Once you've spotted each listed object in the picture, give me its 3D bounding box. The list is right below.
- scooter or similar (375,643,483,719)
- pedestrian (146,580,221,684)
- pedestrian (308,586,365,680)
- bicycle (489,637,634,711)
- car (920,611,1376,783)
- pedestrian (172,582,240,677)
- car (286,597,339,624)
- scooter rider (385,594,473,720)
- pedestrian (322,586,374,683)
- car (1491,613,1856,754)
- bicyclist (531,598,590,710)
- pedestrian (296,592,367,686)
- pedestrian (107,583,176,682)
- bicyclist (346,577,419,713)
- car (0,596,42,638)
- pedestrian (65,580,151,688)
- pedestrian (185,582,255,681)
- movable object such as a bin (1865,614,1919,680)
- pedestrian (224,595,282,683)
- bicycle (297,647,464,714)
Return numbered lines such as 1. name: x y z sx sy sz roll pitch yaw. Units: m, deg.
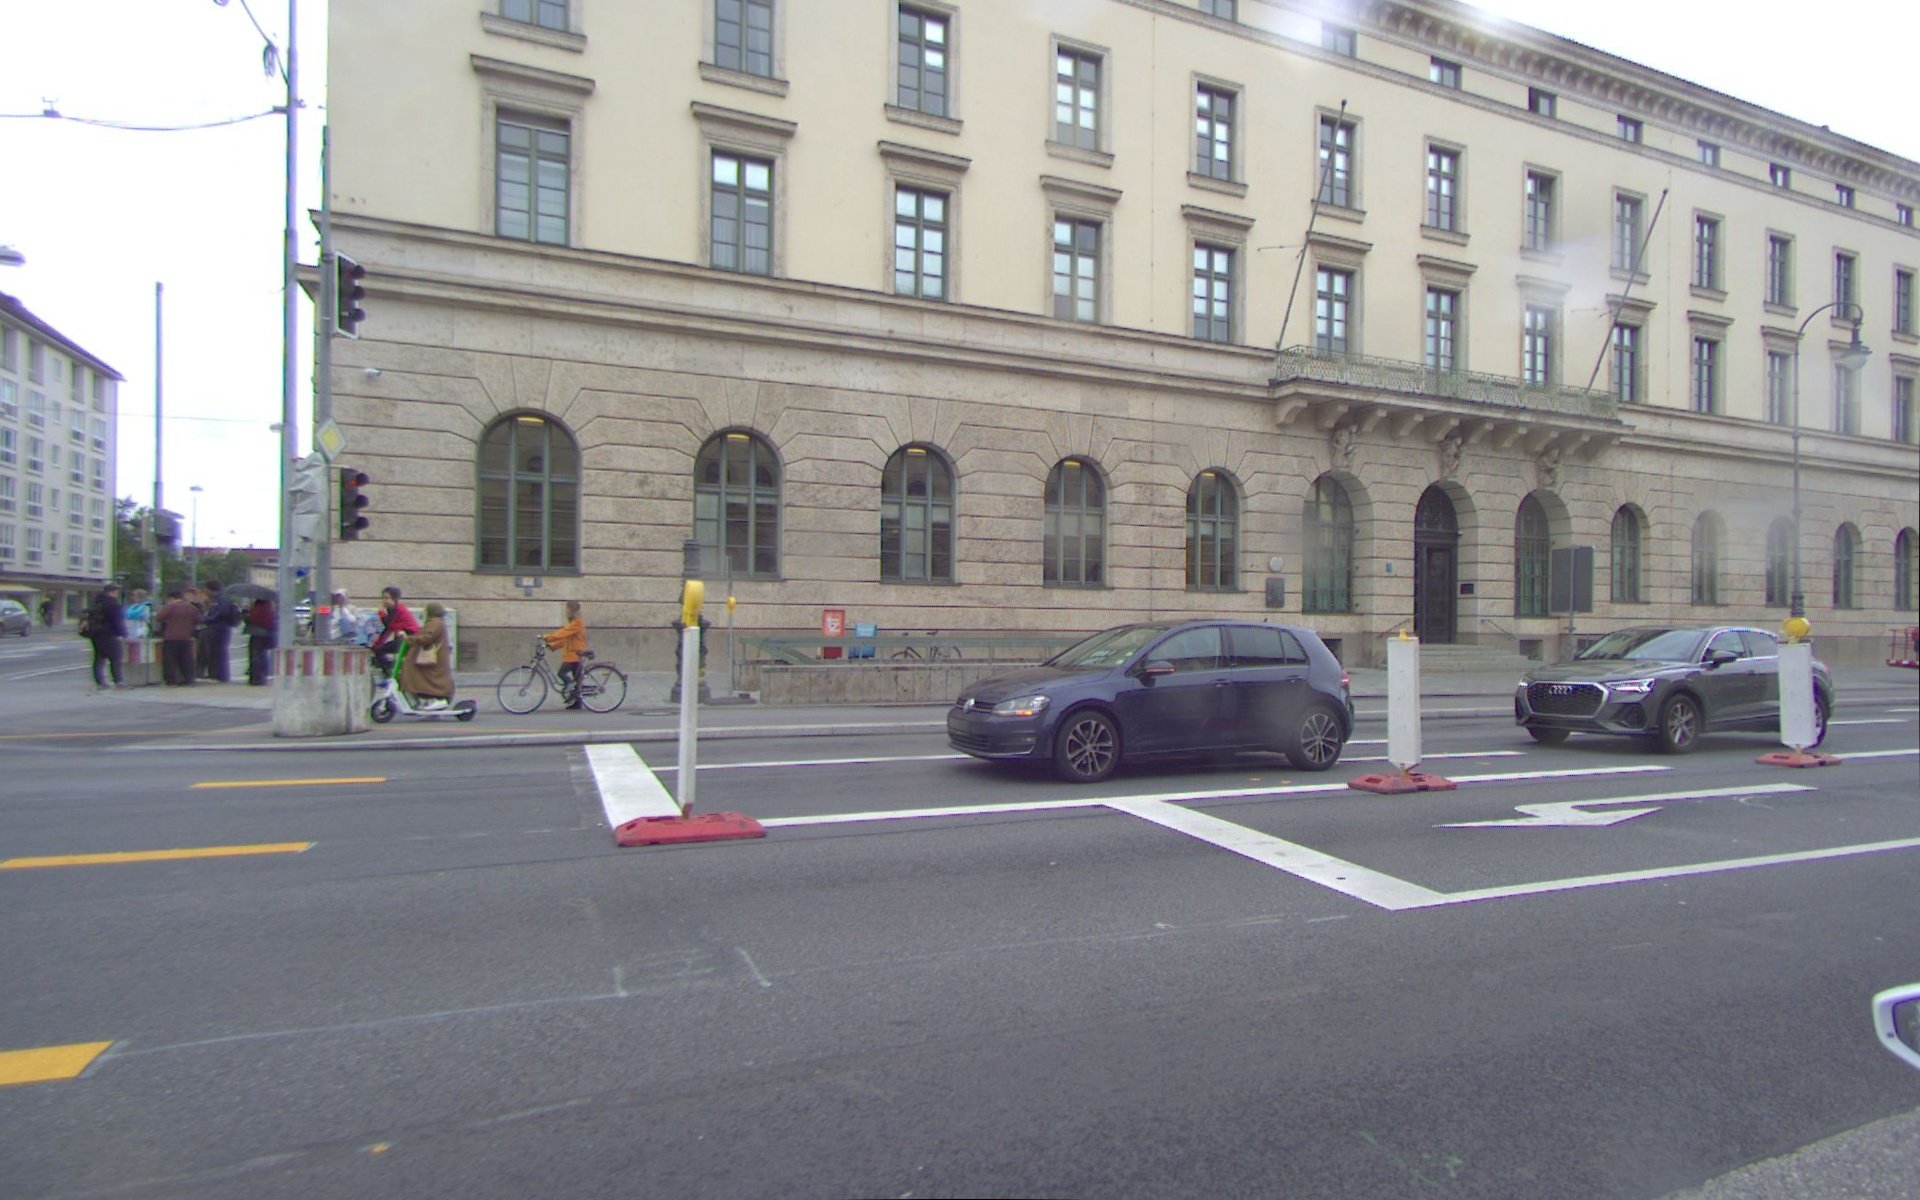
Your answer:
1. scooter or similar: -7.156 1.089 13.588 1.197 0.977 0.585 2 -1 -22
2. pedestrian: -13.715 0.555 17.753 0.573 1.779 0.820 2 -1 8
3. pedestrian: -11.744 0.622 18.936 0.707 1.716 0.816 2 -1 -21
4. bicycle: -5.961 1.112 15.122 1.935 1.054 0.791 2 -1 -21
5. car: 1.868 0.902 9.891 4.181 1.406 1.740 2 -3 -24
6. pedestrian: -14.524 0.565 19.365 0.805 1.779 0.585 2 -1 -9
7. car: -36.965 0.603 57.426 1.794 1.443 4.426 3 -2 -24
8. scooter rider: -7.161 0.767 13.586 0.922 1.644 0.589 2 -1 -22
9. pedestrian: -10.979 0.616 18.034 0.608 1.694 0.540 2 -1 -15
10. car: 9.273 1.031 13.038 4.512 1.587 1.782 1 -3 -24
11. bicyclist: -5.993 0.801 15.115 0.735 1.636 0.791 2 -1 -20
12. pedestrian: -10.793 0.667 17.278 0.806 1.577 0.665 2 -1 -15
13. pedestrian: -15.049 0.598 18.474 0.576 1.779 0.817 1 -1 36
14. bicyclist: -8.217 0.639 14.320 0.735 1.866 0.657 2 -1 -20
15. car: -41.092 0.704 42.502 1.972 1.758 4.209 1 -1 -23
16. pedestrian: -14.479 0.571 17.095 0.805 1.779 0.679 2 -1 -7
17. pedestrian: -13.741 0.576 18.677 0.573 1.779 0.820 2 -1 8
18. movable object such as a bin: 32.395 1.588 33.072 5.890 2.040 1.508 2 -1 -23
19. pedestrian: -12.817 0.695 18.232 0.658 1.547 0.815 2 -1 -25
20. bicycle: -8.206 1.149 14.323 1.949 0.891 0.658 2 -1 -21
